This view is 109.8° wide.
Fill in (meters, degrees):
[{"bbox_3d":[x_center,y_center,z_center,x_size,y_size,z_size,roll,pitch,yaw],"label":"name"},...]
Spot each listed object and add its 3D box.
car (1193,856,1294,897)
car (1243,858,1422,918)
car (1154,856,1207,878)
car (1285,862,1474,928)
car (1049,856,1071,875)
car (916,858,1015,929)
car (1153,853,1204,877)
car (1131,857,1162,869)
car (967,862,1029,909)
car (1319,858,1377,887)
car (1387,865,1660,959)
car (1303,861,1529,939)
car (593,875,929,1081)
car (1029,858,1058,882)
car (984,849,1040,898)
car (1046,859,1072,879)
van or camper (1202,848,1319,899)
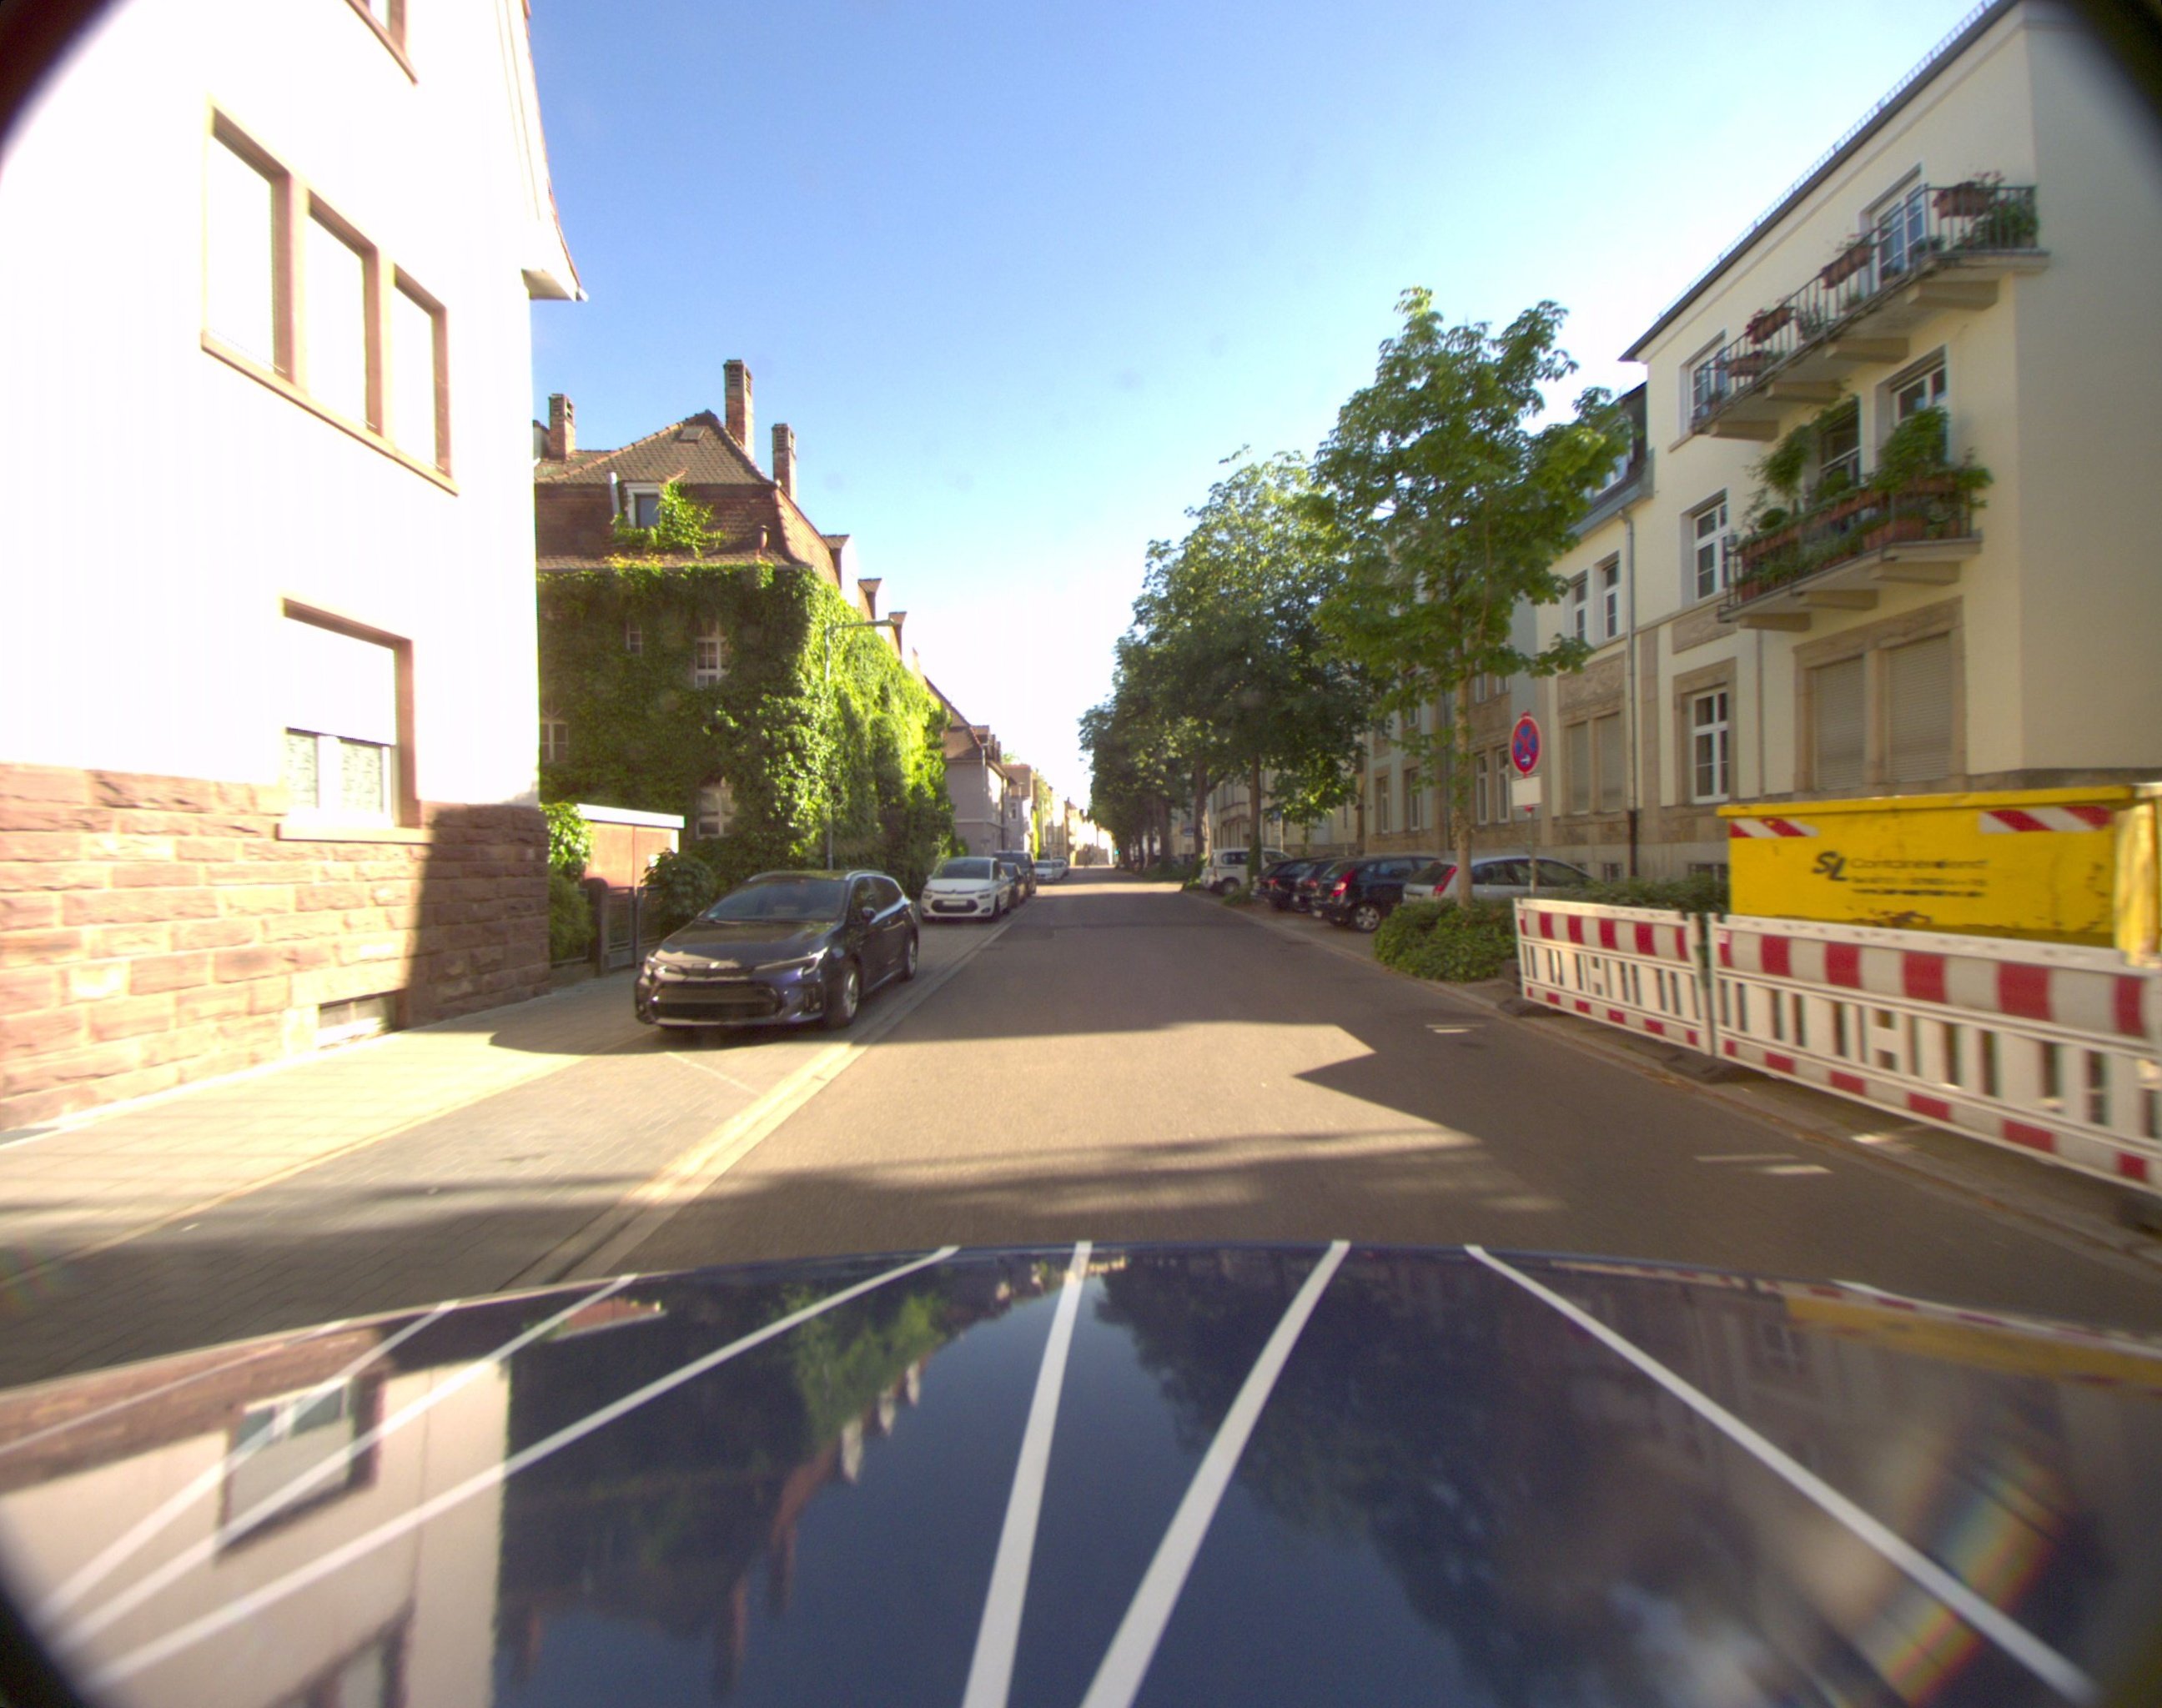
[{"bbox_3d":[6.605,0.890,31.127,3.734,1.507,1.722,-2,0,-1],"label":"car"},{"bbox_3d":[6.561,0.865,20.135,4.150,1.392,1.710,-2,0,0],"label":"car"},{"bbox_3d":[7.706,0.980,58.804,3.995,1.424,1.804,-3,1,8],"label":"car"},{"bbox_3d":[6.834,0.918,17.650,3.757,1.422,1.646,0,0,1],"label":"car"},{"bbox_3d":[-1.975,1.081,73.806,1.822,1.634,4.161,-3,0,1],"label":"car"},{"bbox_3d":[-2.870,0.929,19.799,1.872,1.635,4.199,0,0,1],"label":"car"},{"bbox_3d":[8.243,0.945,63.974,3.993,1.752,2.002,-3,1,14],"label":"car"},{"bbox_3d":[7.725,1.041,89.823,3.496,1.420,1.542,0,0,0],"label":"car"},{"bbox_3d":[-2.756,1.024,25.848,1.641,1.413,4.008,-1,0,0],"label":"car"},{"bbox_3d":[15.420,1.043,44.105,1.869,1.545,4.418,2,0,2],"label":"car"},{"bbox_3d":[7.203,0.919,12.657,3.558,1.440,1.695,0,0,1],"label":"car"},{"bbox_3d":[6.515,0.870,15.094,3.735,1.456,1.715,0,-1,2],"label":"car"},{"bbox_3d":[-2.951,1.031,8.193,1.648,1.445,4.503,-2,0,0],"label":"car"},{"bbox_3d":[-2.503,1.040,51.616,1.814,1.546,4.106,-1,0,-1],"label":"car"},{"bbox_3d":[-2.827,0.772,32.186,1.857,1.897,4.851,-1,0,1],"label":"car"},{"bbox_3d":[-1.822,1.202,63.324,1.822,1.529,4.161,-3,0,1],"label":"car"},{"bbox_3d":[6.761,0.753,28.917,3.954,1.762,1.809,-2,-1,0],"label":"van or camper"}]
